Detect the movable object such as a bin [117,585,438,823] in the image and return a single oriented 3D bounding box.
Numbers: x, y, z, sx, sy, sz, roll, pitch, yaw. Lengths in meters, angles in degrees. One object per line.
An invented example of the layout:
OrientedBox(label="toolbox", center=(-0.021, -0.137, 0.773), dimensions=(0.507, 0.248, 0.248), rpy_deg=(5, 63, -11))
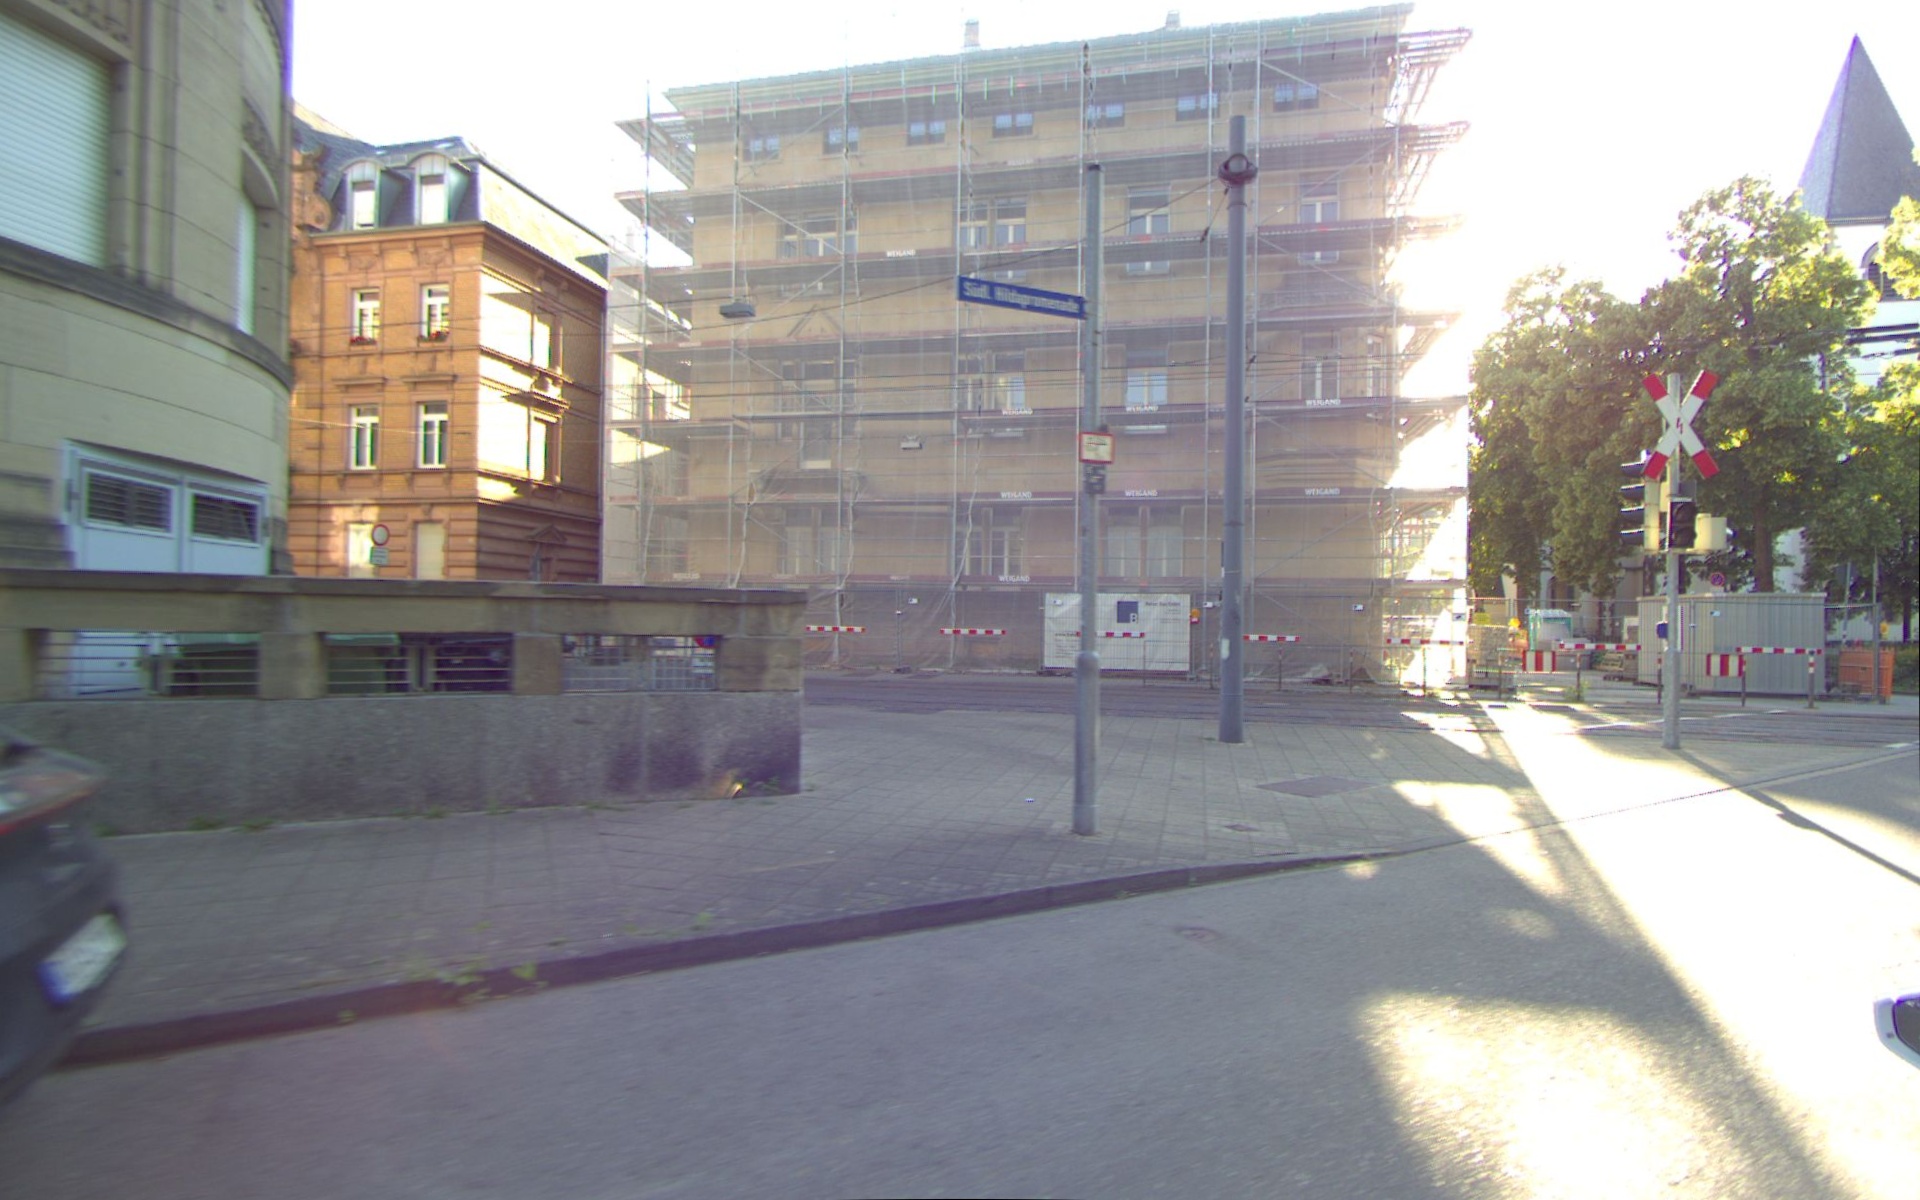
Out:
OrientedBox(label="movable object such as a bin", center=(-4.735, 0.678, 7.155), dimensions=(1.602, 1.505, 1.145), rpy_deg=(1, -1, -18))

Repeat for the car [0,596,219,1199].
OrientedBox(label="car", center=(-3.959, 0.691, 1.640), dimensions=(4.155, 1.467, 1.737), rpy_deg=(2, -1, -28))

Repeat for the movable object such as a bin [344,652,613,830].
OrientedBox(label="movable object such as a bin", center=(-4.404, 1.244, 9.308), dimensions=(1.882, 1.447, 1.187), rpy_deg=(0, -1, 9))

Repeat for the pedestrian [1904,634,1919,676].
OrientedBox(label="pedestrian", center=(28.884, 1.654, 30.164), dimensions=(0.715, 1.249, 0.549), rpy_deg=(1, -1, -24))

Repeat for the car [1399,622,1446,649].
OrientedBox(label="car", center=(29.948, 2.293, 65.197), dimensions=(1.853, 1.677, 4.223), rpy_deg=(1, -1, 12))
